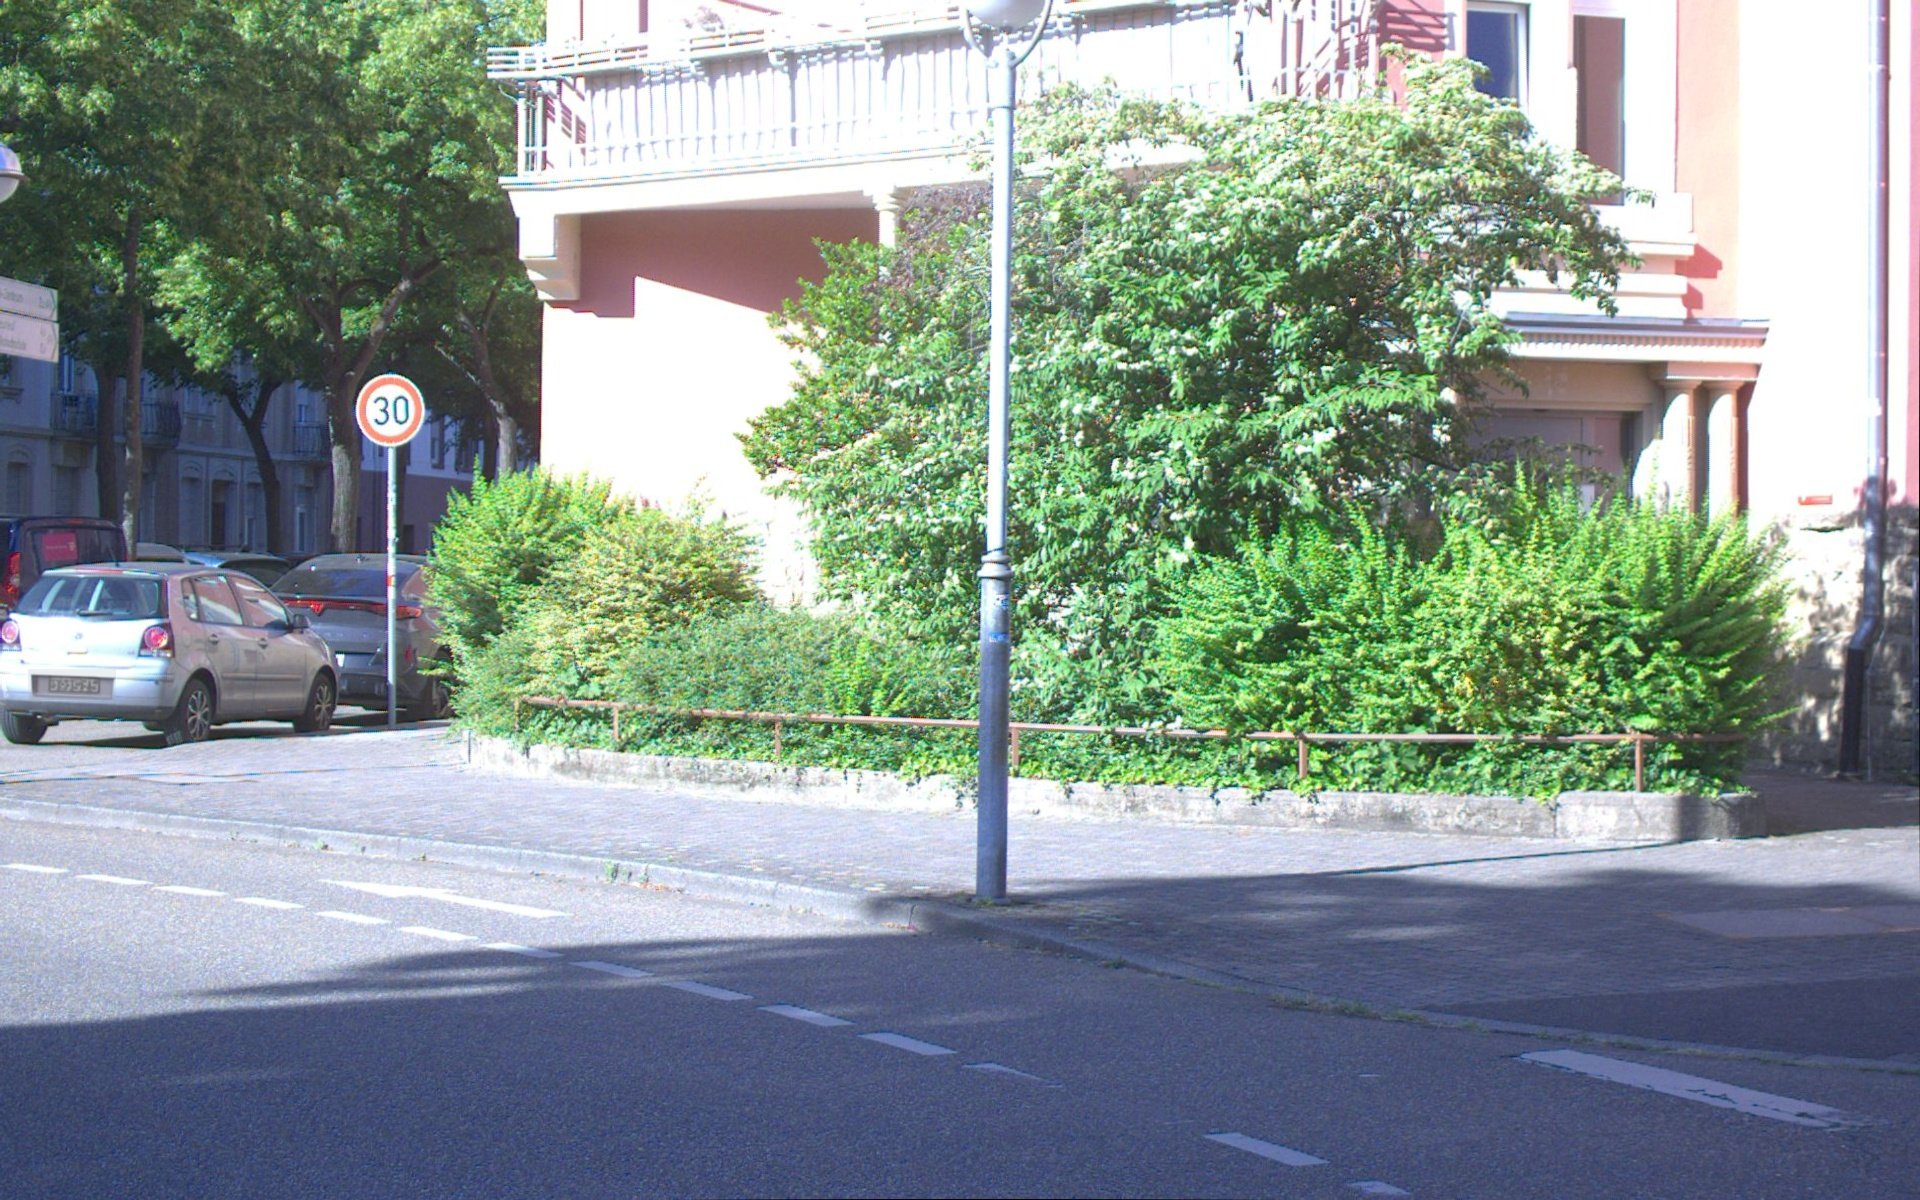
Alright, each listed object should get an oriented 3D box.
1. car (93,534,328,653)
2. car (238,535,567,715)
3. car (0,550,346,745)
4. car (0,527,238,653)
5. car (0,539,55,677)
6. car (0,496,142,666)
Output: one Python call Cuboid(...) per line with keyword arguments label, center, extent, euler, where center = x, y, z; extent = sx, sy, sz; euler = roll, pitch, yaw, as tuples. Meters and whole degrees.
Cuboid(label="car", center=(-10.211, -0.095, 46.719), extent=(1.683, 1.465, 3.383), euler=(1, 1, -40))
Cuboid(label="car", center=(-5.301, 0.203, 33.258), extent=(1.683, 1.557, 4.293), euler=(2, 1, 11))
Cuboid(label="car", center=(-6.546, 0.349, 28.364), extent=(1.683, 1.441, 3.544), euler=(2, 1, 11))
Cuboid(label="car", center=(-10.858, -0.148, 44.099), extent=(1.683, 1.465, 3.383), euler=(1, 1, -40))
Cuboid(label="car", center=(-11.625, 0.023, 36.904), extent=(3.378, 1.441, 1.686), euler=(3, 1, 26))
Cuboid(label="car", center=(-11.099, -0.259, 39.321), extent=(3.381, 1.858, 1.684), euler=(3, 1, 41))
